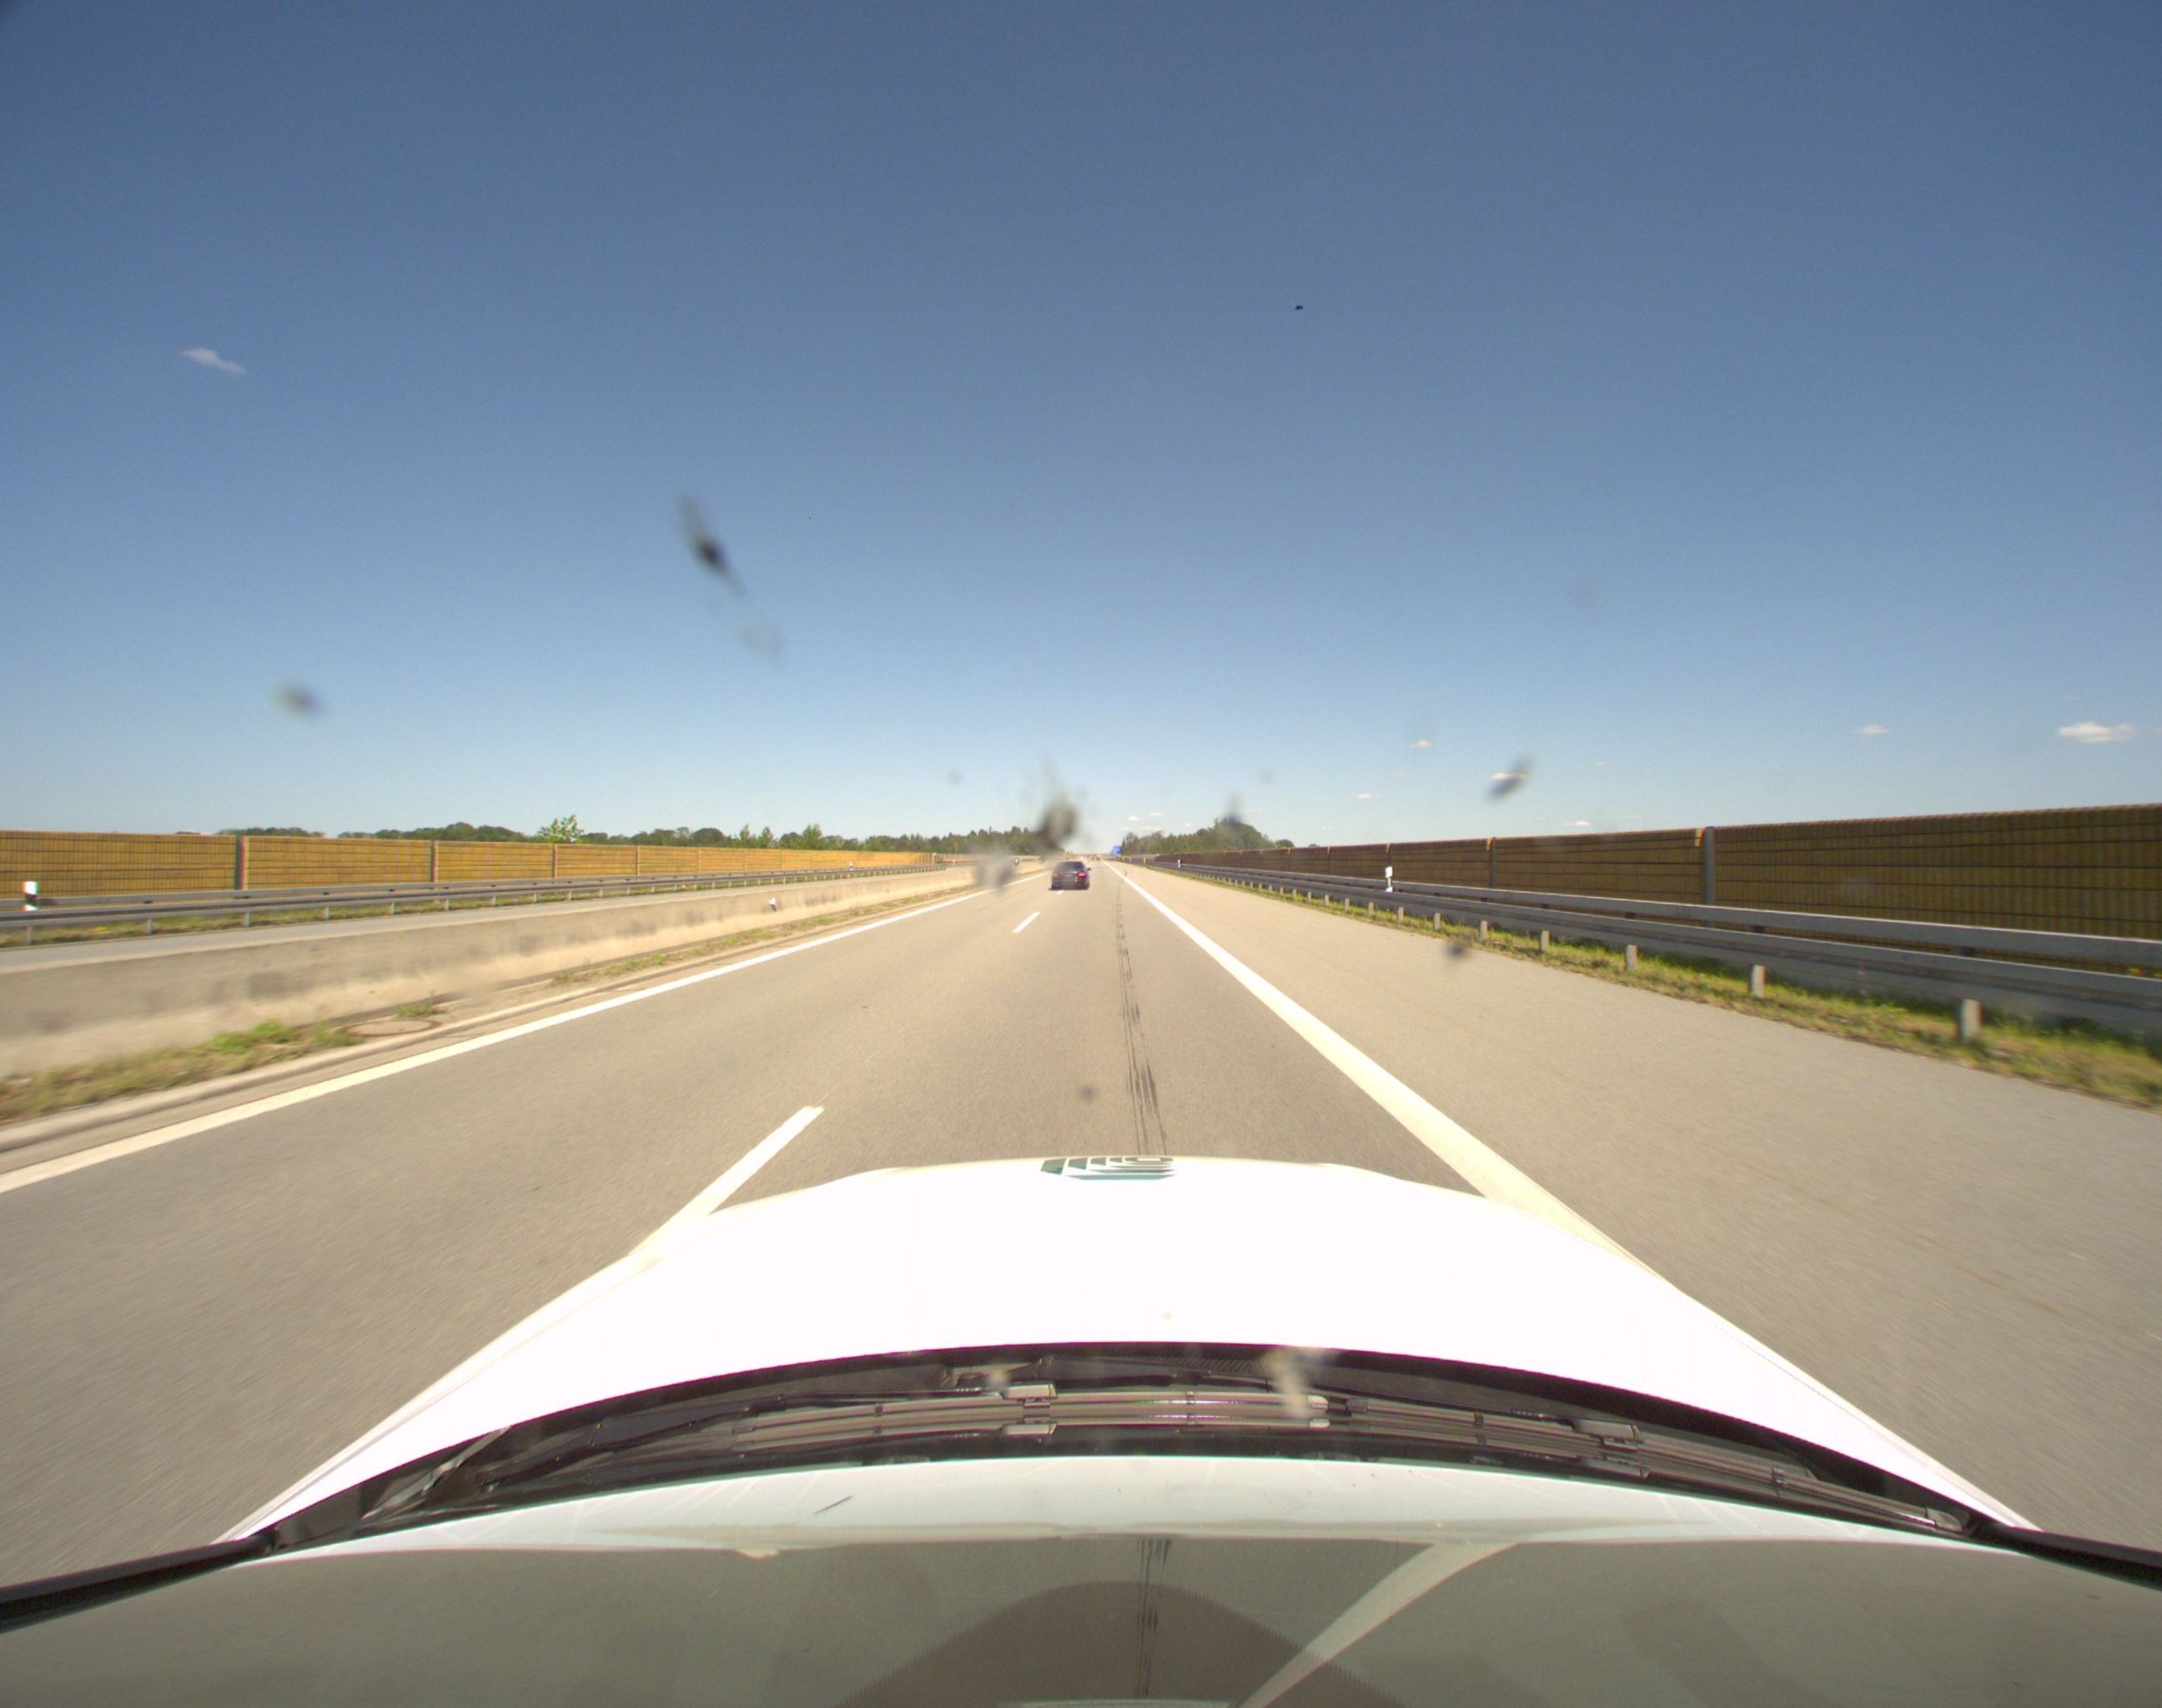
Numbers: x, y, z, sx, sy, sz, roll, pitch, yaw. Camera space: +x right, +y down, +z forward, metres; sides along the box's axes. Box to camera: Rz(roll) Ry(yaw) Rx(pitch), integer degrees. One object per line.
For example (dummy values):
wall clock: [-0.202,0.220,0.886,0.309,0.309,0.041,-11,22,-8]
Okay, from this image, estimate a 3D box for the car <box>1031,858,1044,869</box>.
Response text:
car: [-8.283,1.858,156.518,1.986,2.014,5.739,-1,-1,1]

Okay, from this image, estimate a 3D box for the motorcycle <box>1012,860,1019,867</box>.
motorcycle: [-11.519,1.662,143.374,1.009,1.167,2.869,-1,0,1]

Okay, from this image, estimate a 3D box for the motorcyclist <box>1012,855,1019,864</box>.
motorcyclist: [-11.526,1.030,143.397,1.009,1.564,1.429,-1,-1,1]

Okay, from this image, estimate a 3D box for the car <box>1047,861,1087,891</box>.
car: [-0.631,1.023,39.798,1.783,1.374,3.918,-1,0,2]
